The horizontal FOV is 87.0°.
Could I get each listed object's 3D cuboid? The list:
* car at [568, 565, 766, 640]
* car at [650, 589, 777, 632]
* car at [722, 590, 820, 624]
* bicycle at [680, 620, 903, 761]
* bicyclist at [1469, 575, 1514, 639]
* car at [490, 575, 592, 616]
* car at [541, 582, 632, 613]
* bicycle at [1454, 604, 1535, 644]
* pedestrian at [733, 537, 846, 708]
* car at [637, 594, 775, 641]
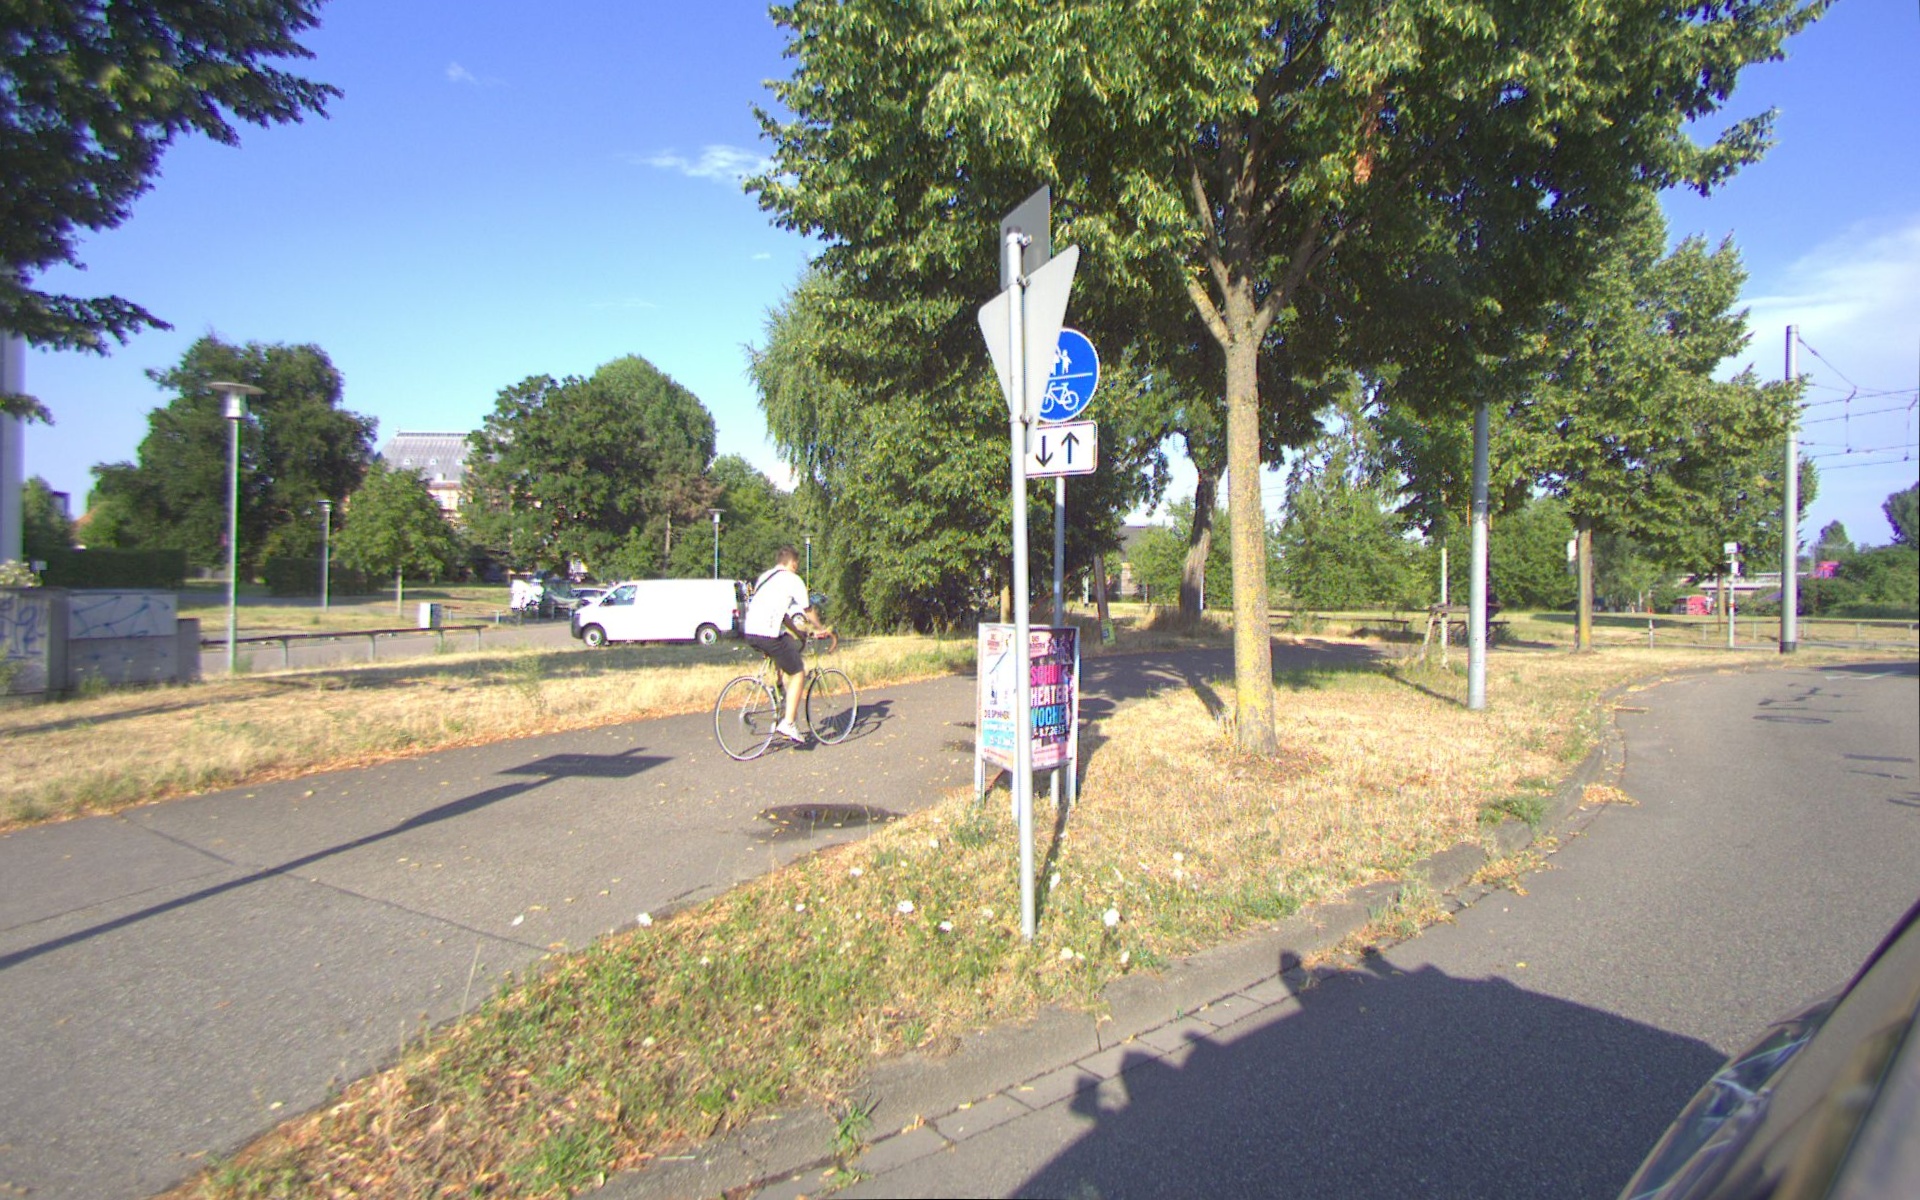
[{"bbox_3d":[-8.490,0.068,29.663,5.124,2.039,2.268,-1,0,3],"label":"car"},{"bbox_3d":[-8.456,0.346,34.945,3.927,1.461,1.869,0,0,3],"label":"car"},{"bbox_3d":[-8.221,0.278,44.222,3.928,1.415,1.854,0,0,4],"label":"car"},{"bbox_3d":[-1.425,0.732,8.798,1.878,1.068,0.534,0,0,-37],"label":"bicycle"},{"bbox_3d":[15.515,0.197,29.568,0.919,1.823,0.729,0,0,-6],"label":"bicyclist"},{"bbox_3d":[-19.127,-0.212,46.320,3.925,1.816,1.892,0,0,2],"label":"car"},{"bbox_3d":[-19.022,-0.129,51.626,3.925,1.549,1.999,0,0,2],"label":"car"},{"bbox_3d":[15.598,0.699,29.555,2.082,1.137,0.641,0,0,-6],"label":"bicycle"},{"bbox_3d":[-1.483,0.171,8.781,0.753,1.409,0.653,0,2,-36],"label":"pedestrian"},{"bbox_3d":[-8.048,0.528,32.331,3.927,1.461,1.869,0,0,3],"label":"car"}]
